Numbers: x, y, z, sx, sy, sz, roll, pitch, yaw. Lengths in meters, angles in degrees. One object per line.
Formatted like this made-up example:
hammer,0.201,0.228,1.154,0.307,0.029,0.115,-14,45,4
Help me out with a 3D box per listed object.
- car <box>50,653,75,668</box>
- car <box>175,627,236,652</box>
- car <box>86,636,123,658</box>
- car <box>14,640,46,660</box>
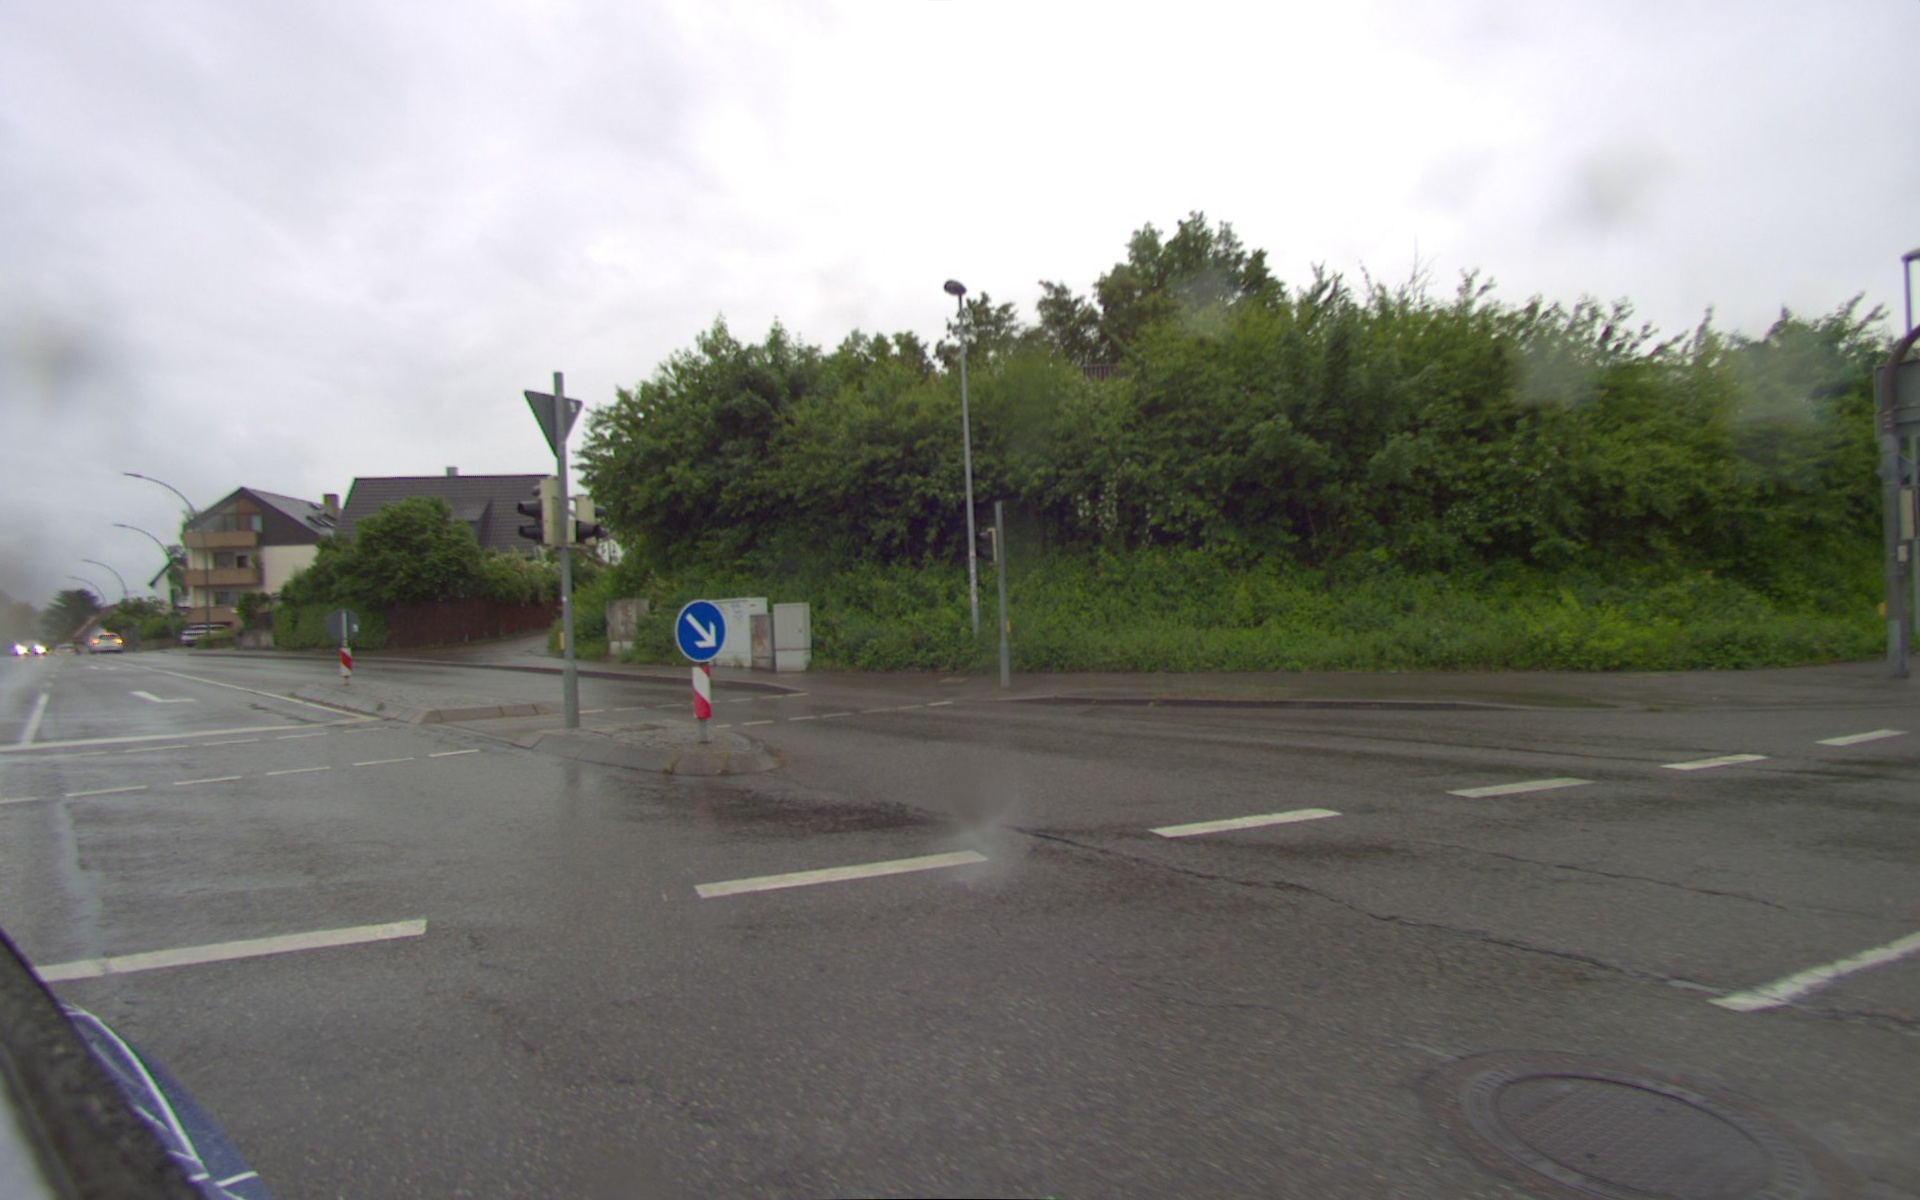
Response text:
car,-100.521,6.762,113.387,4.321,1.516,1.647,-2,0,42
car,-51.992,2.707,69.816,1.640,1.558,4.006,-1,0,-7
car,-62.025,3.362,73.361,3.823,1.516,1.602,-2,-2,43
car,-79.034,4.242,85.972,3.920,1.568,1.734,-1,0,43
